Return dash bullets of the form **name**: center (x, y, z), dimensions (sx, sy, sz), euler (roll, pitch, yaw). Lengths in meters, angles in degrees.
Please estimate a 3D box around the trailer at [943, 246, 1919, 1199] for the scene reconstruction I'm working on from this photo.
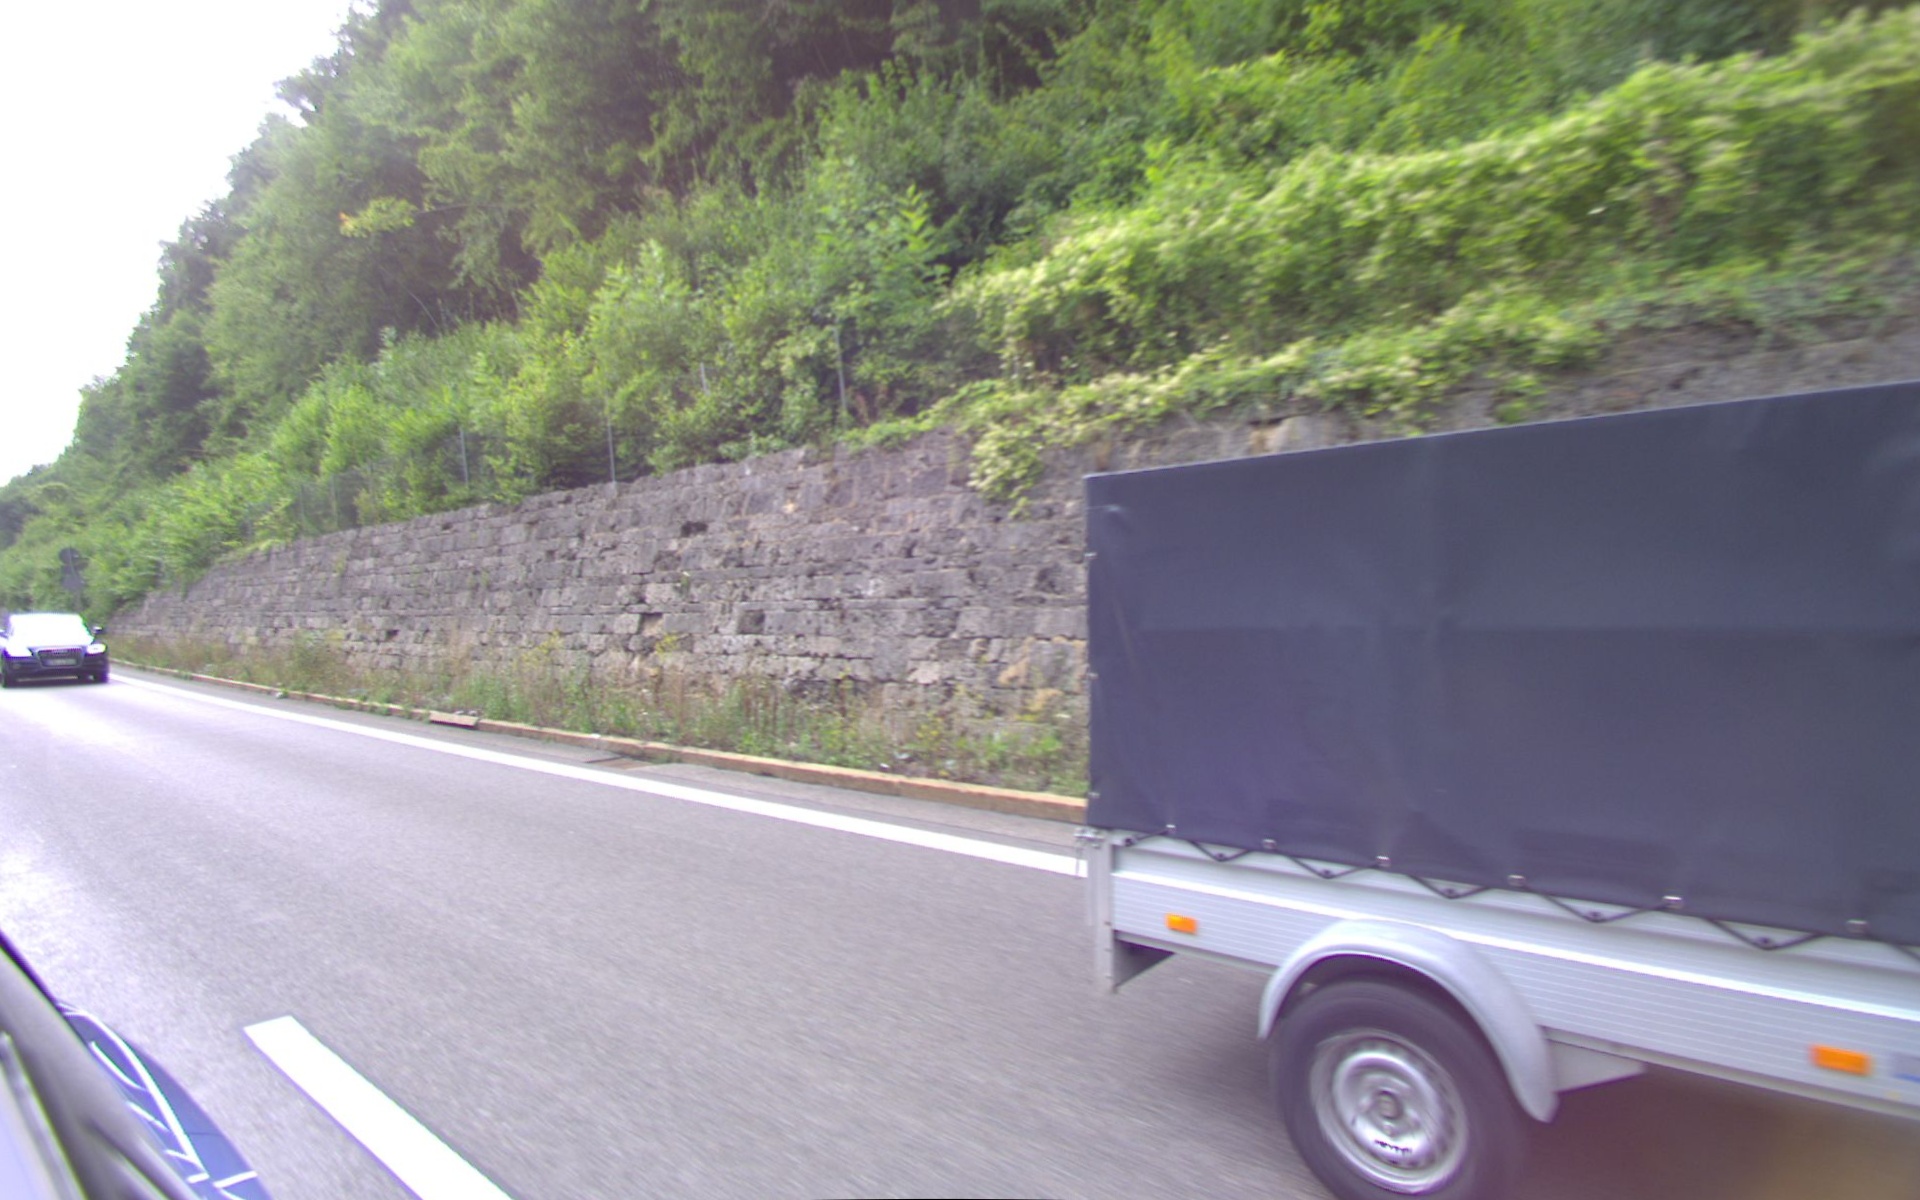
- **trailer**: center (1.894, 0.418, 2.608), dimensions (3.427, 1.954, 1.951), euler (-2, -2, 39)

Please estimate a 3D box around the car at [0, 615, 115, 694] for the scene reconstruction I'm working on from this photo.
- **car**: center (-22.195, 1.213, 24.432), dimensions (5.584, 1.605, 1.950), euler (0, 1, 42)
